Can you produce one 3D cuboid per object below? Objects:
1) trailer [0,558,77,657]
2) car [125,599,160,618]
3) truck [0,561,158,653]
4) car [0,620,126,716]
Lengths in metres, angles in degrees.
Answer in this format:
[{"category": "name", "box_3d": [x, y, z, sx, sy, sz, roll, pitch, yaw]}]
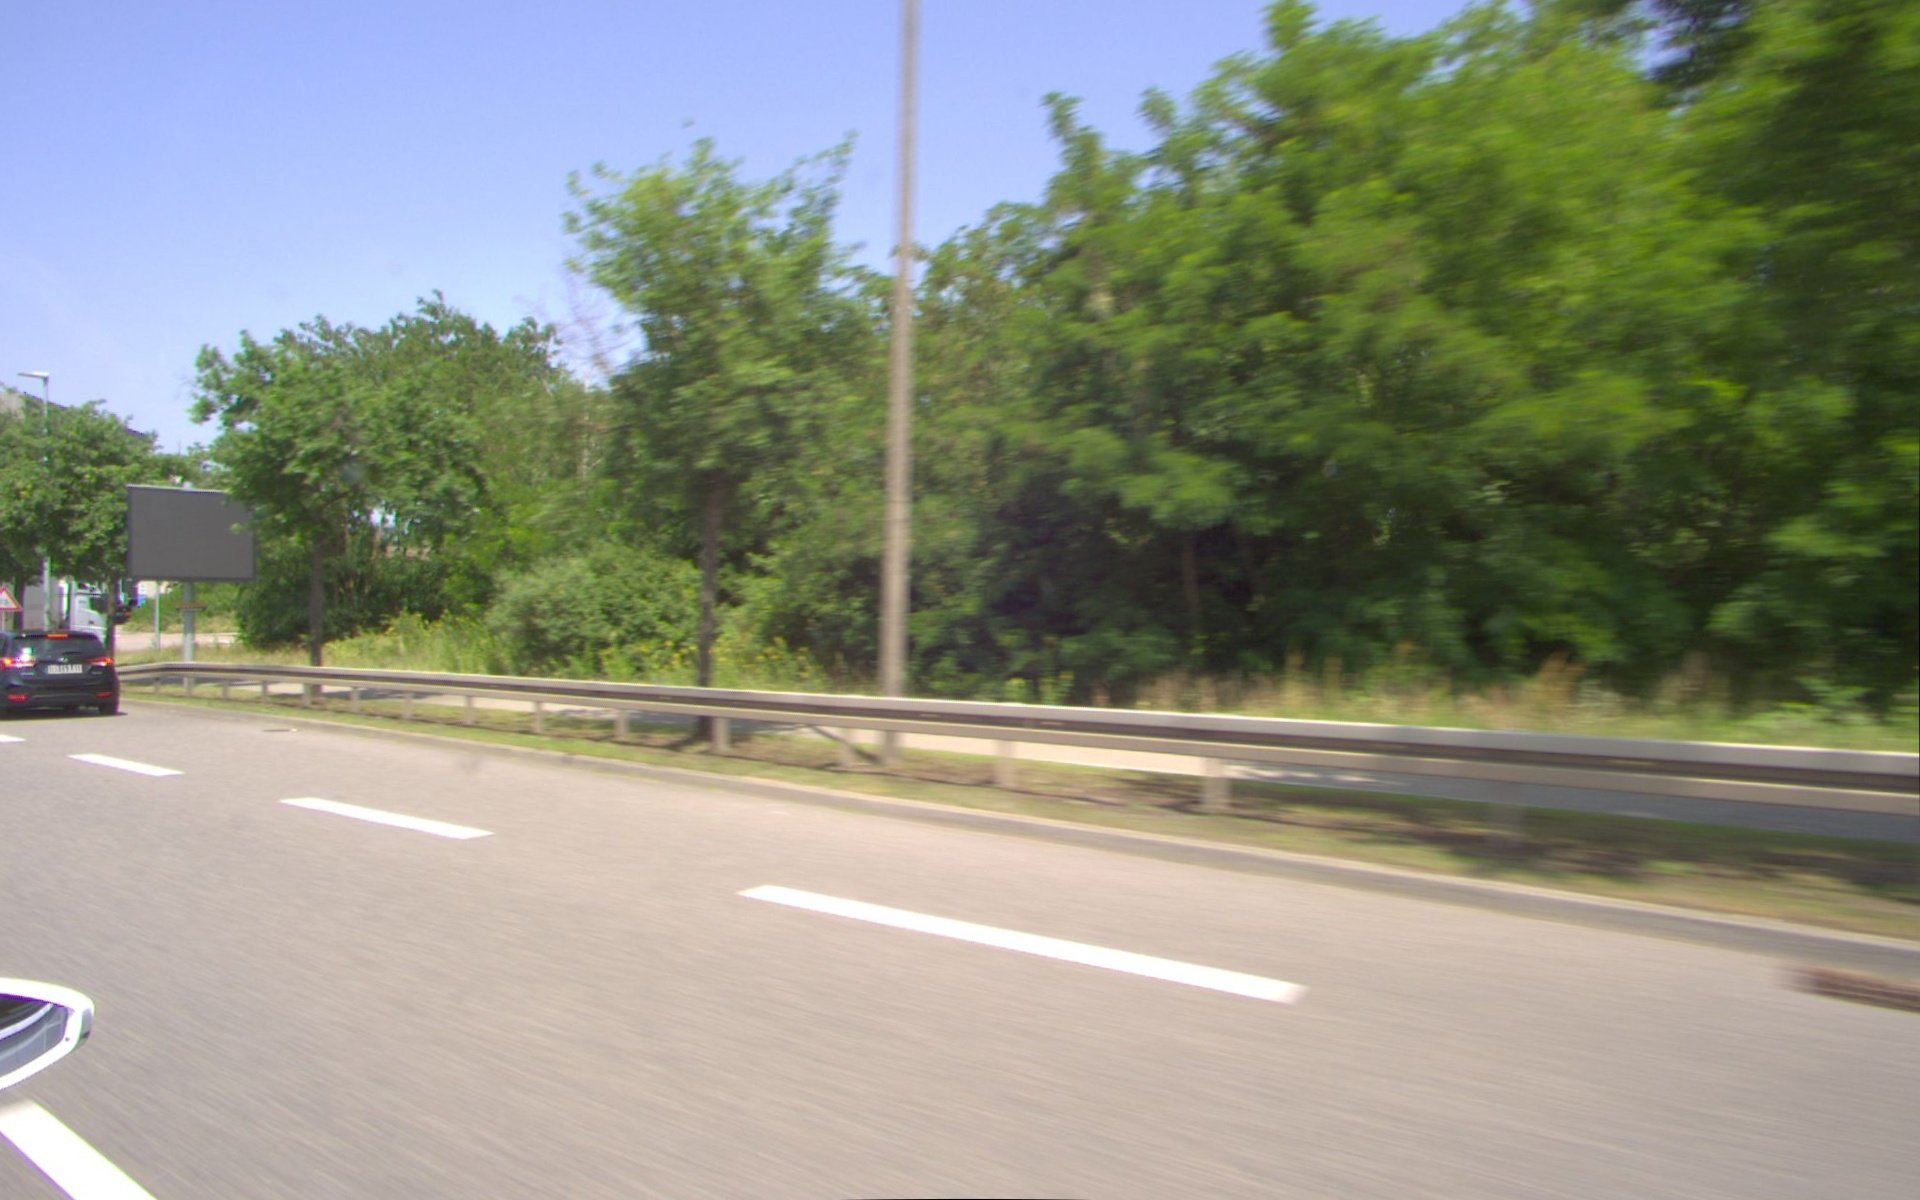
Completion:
[{"category": "trailer", "box_3d": [-44.267, 0.259, 44.322, 3.040, 4.422, 14.727, 4, -3, -23]}, {"category": "car", "box_3d": [-84.746, 0.866, 103.858, 1.817, 1.914, 3.985, 2, -1, -24]}, {"category": "truck", "box_3d": [-46.327, 0.498, 52.527, 3.026, 4.423, 6.082, 3, -2, 5]}, {"category": "car", "box_3d": [-17.418, 1.250, 18.895, 4.027, 1.619, 1.761, -3, -2, 38]}]
